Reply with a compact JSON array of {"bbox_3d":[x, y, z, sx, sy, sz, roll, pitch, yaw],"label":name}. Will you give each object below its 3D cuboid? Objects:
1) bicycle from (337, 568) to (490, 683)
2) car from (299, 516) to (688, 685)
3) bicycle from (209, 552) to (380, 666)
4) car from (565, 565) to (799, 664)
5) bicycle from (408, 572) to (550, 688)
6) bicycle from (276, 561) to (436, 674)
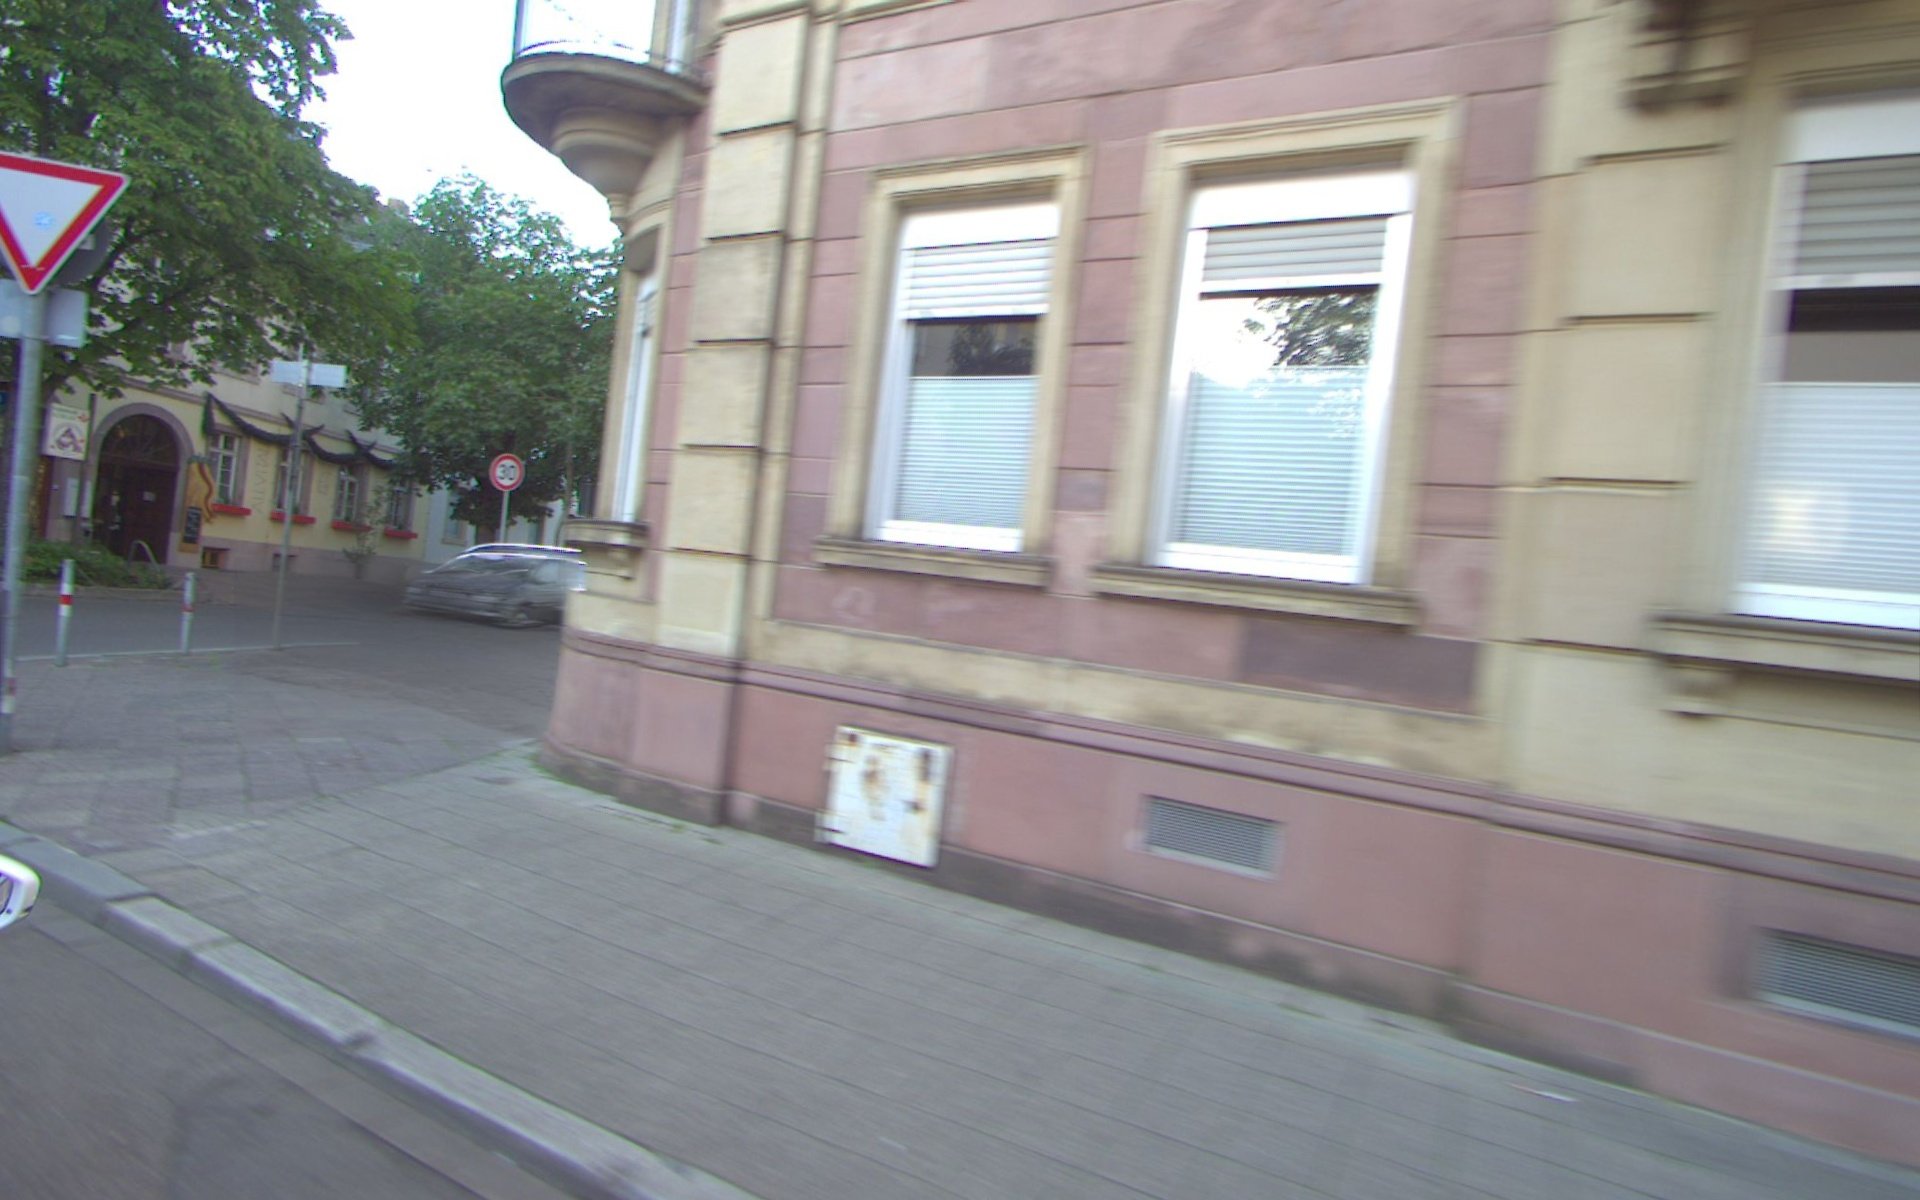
[{"bbox_3d":[-5.804,0.256,10.811,0.357,1.103,1.870,5,1,7],"label":"bicycle"},{"bbox_3d":[-6.305,-0.004,13.824,4.503,1.761,1.777,5,1,8],"label":"car"},{"bbox_3d":[-7.146,0.102,10.917,0.357,1.103,1.870,5,1,7],"label":"bicycle"},{"bbox_3d":[-5.902,0.313,21.576,4.361,1.505,1.778,7,0,8],"label":"car"},{"bbox_3d":[-5.092,0.303,10.779,0.357,1.103,1.870,5,1,7],"label":"bicycle"},{"bbox_3d":[-6.541,0.187,11.012,0.357,1.103,1.870,5,1,7],"label":"bicycle"}]
